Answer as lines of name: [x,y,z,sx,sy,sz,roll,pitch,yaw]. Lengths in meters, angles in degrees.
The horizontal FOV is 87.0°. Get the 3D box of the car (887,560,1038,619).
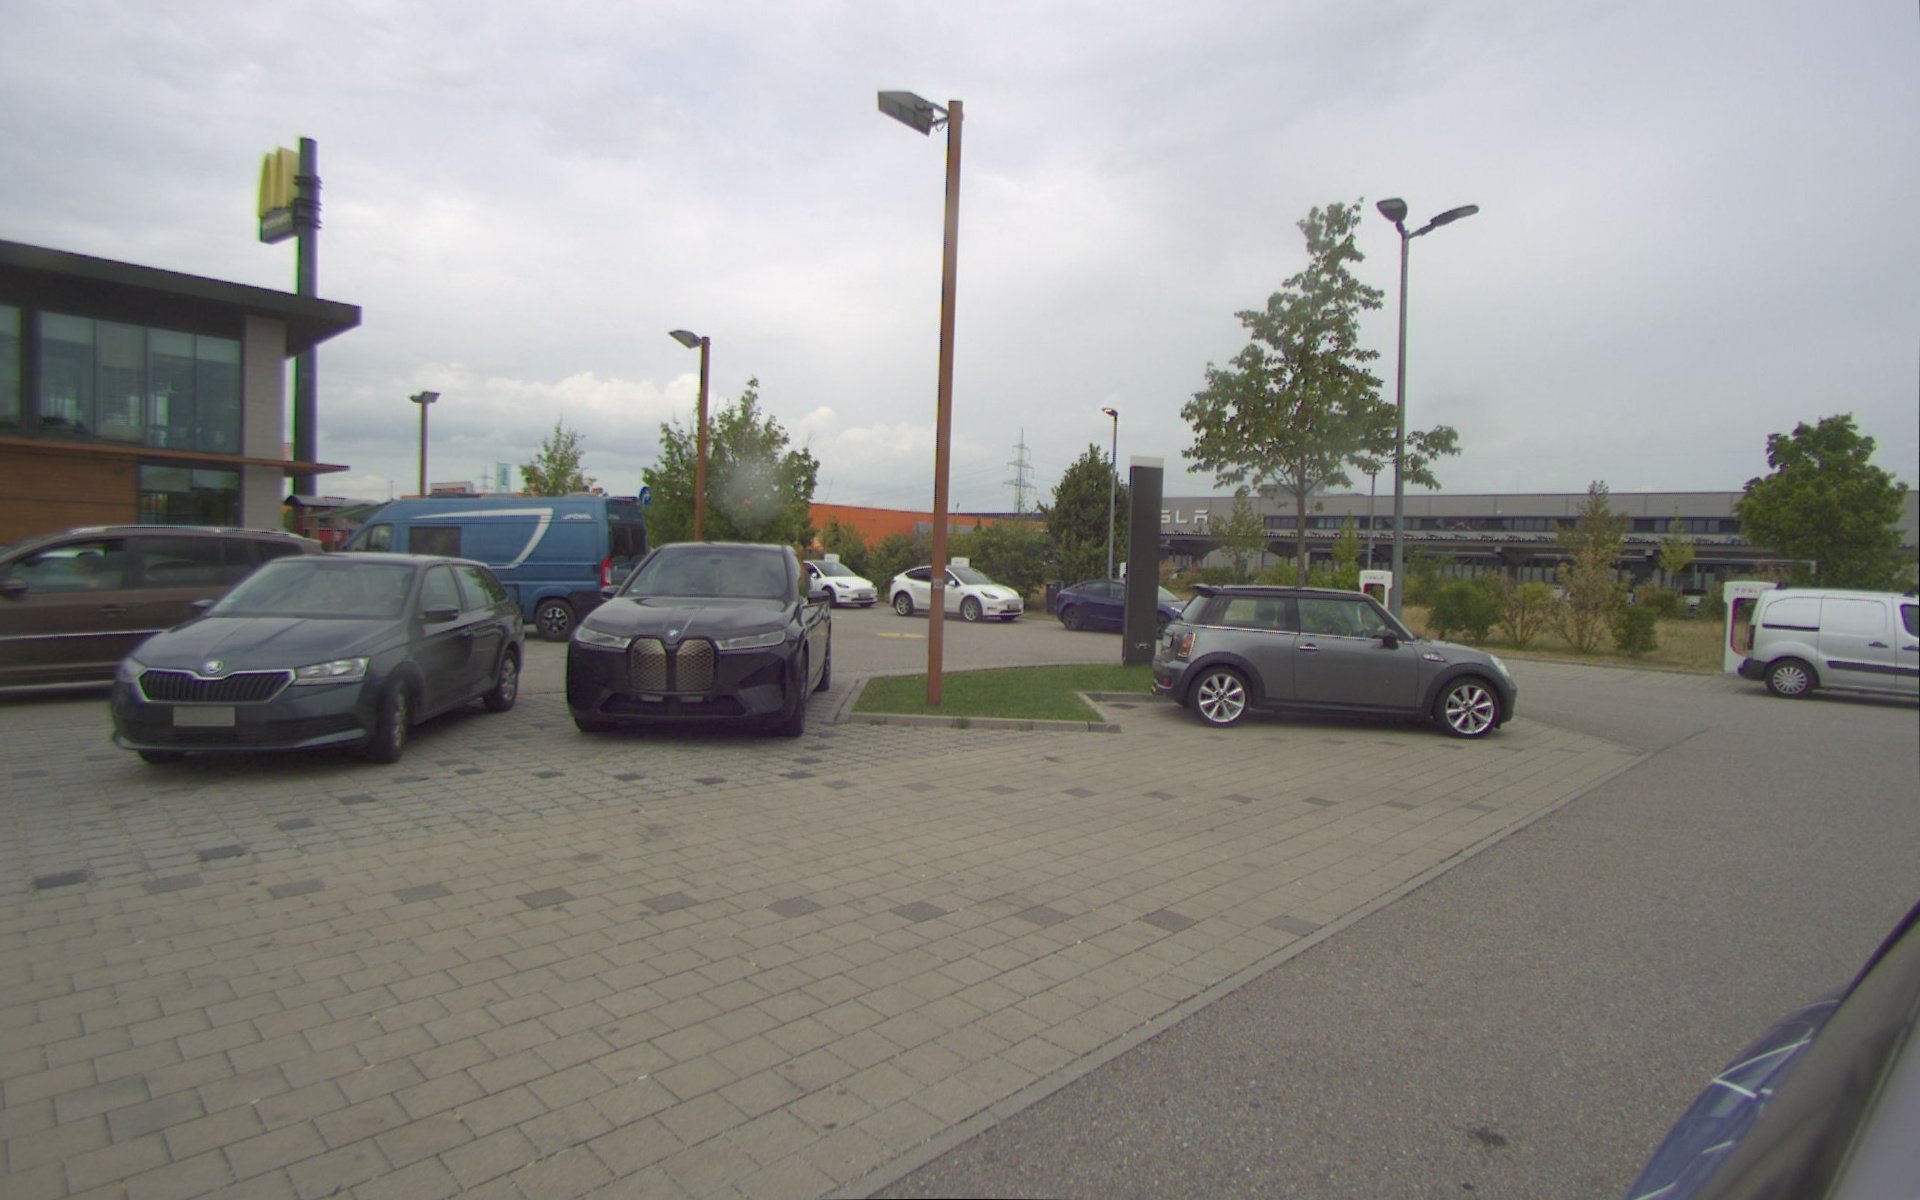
car: [0.025,-0.370,31.160,4.464,1.572,2.041,4,3,43]

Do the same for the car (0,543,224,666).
car: [-12.112,0.010,13.308,3.503,1.471,1.844,1,1,-3]

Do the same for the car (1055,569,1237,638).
car: [4.768,0.025,26.445,1.803,1.476,4.448,-1,4,-43]

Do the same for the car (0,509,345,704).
car: [-8.666,0.018,9.911,1.804,1.710,4.128,4,2,41]

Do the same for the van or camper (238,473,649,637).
van or camper: [-9.197,-0.815,18.379,6.453,2.734,2.171,1,1,3]

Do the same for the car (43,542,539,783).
car: [-4.849,0.301,8.117,1.795,1.429,4.008,1,2,-8]

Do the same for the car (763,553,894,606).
car: [-4.775,-0.762,36.214,2.039,1.621,4.933,0,4,-45]

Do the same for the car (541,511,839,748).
car: [-2.363,0.159,10.222,1.960,1.749,4.902,2,2,-4]

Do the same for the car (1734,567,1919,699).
car: [15.024,0.548,15.887,4.325,1.911,1.915,4,2,44]

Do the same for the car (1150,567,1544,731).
car: [3.886,0.449,10.650,3.464,1.393,1.608,3,1,4]
